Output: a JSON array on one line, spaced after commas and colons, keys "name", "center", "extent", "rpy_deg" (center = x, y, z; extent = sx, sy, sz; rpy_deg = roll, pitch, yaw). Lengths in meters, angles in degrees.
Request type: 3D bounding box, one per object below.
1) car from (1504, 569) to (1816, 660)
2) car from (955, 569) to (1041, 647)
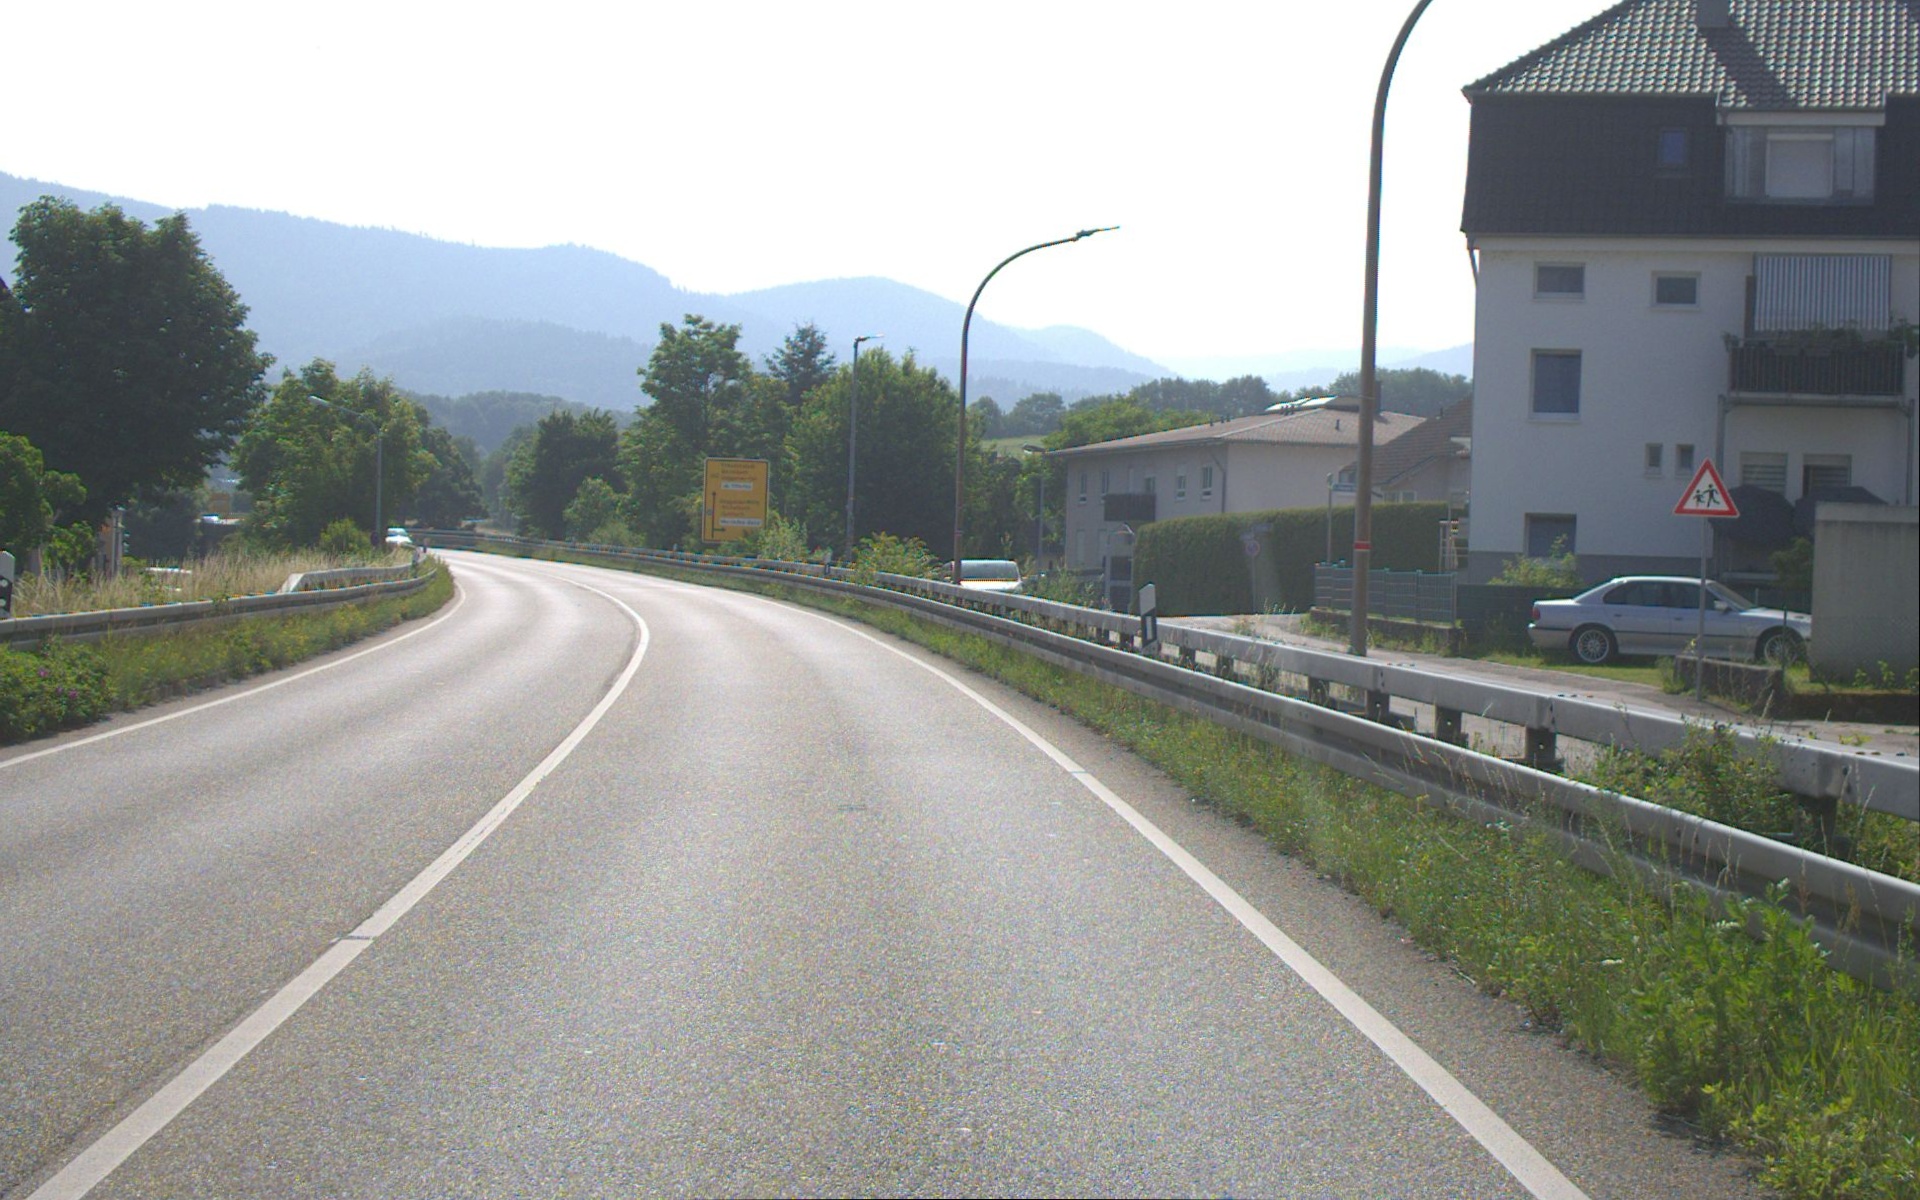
[{"name": "car", "center": [11.143, 0.203, 54.762], "extent": [4.602, 1.343, 1.753], "rpy_deg": [0, 2, 23]}, {"name": "car", "center": [1.005, 0.188, 93.763], "extent": [1.993, 1.938, 5.362], "rpy_deg": [1, 1, -3]}]
